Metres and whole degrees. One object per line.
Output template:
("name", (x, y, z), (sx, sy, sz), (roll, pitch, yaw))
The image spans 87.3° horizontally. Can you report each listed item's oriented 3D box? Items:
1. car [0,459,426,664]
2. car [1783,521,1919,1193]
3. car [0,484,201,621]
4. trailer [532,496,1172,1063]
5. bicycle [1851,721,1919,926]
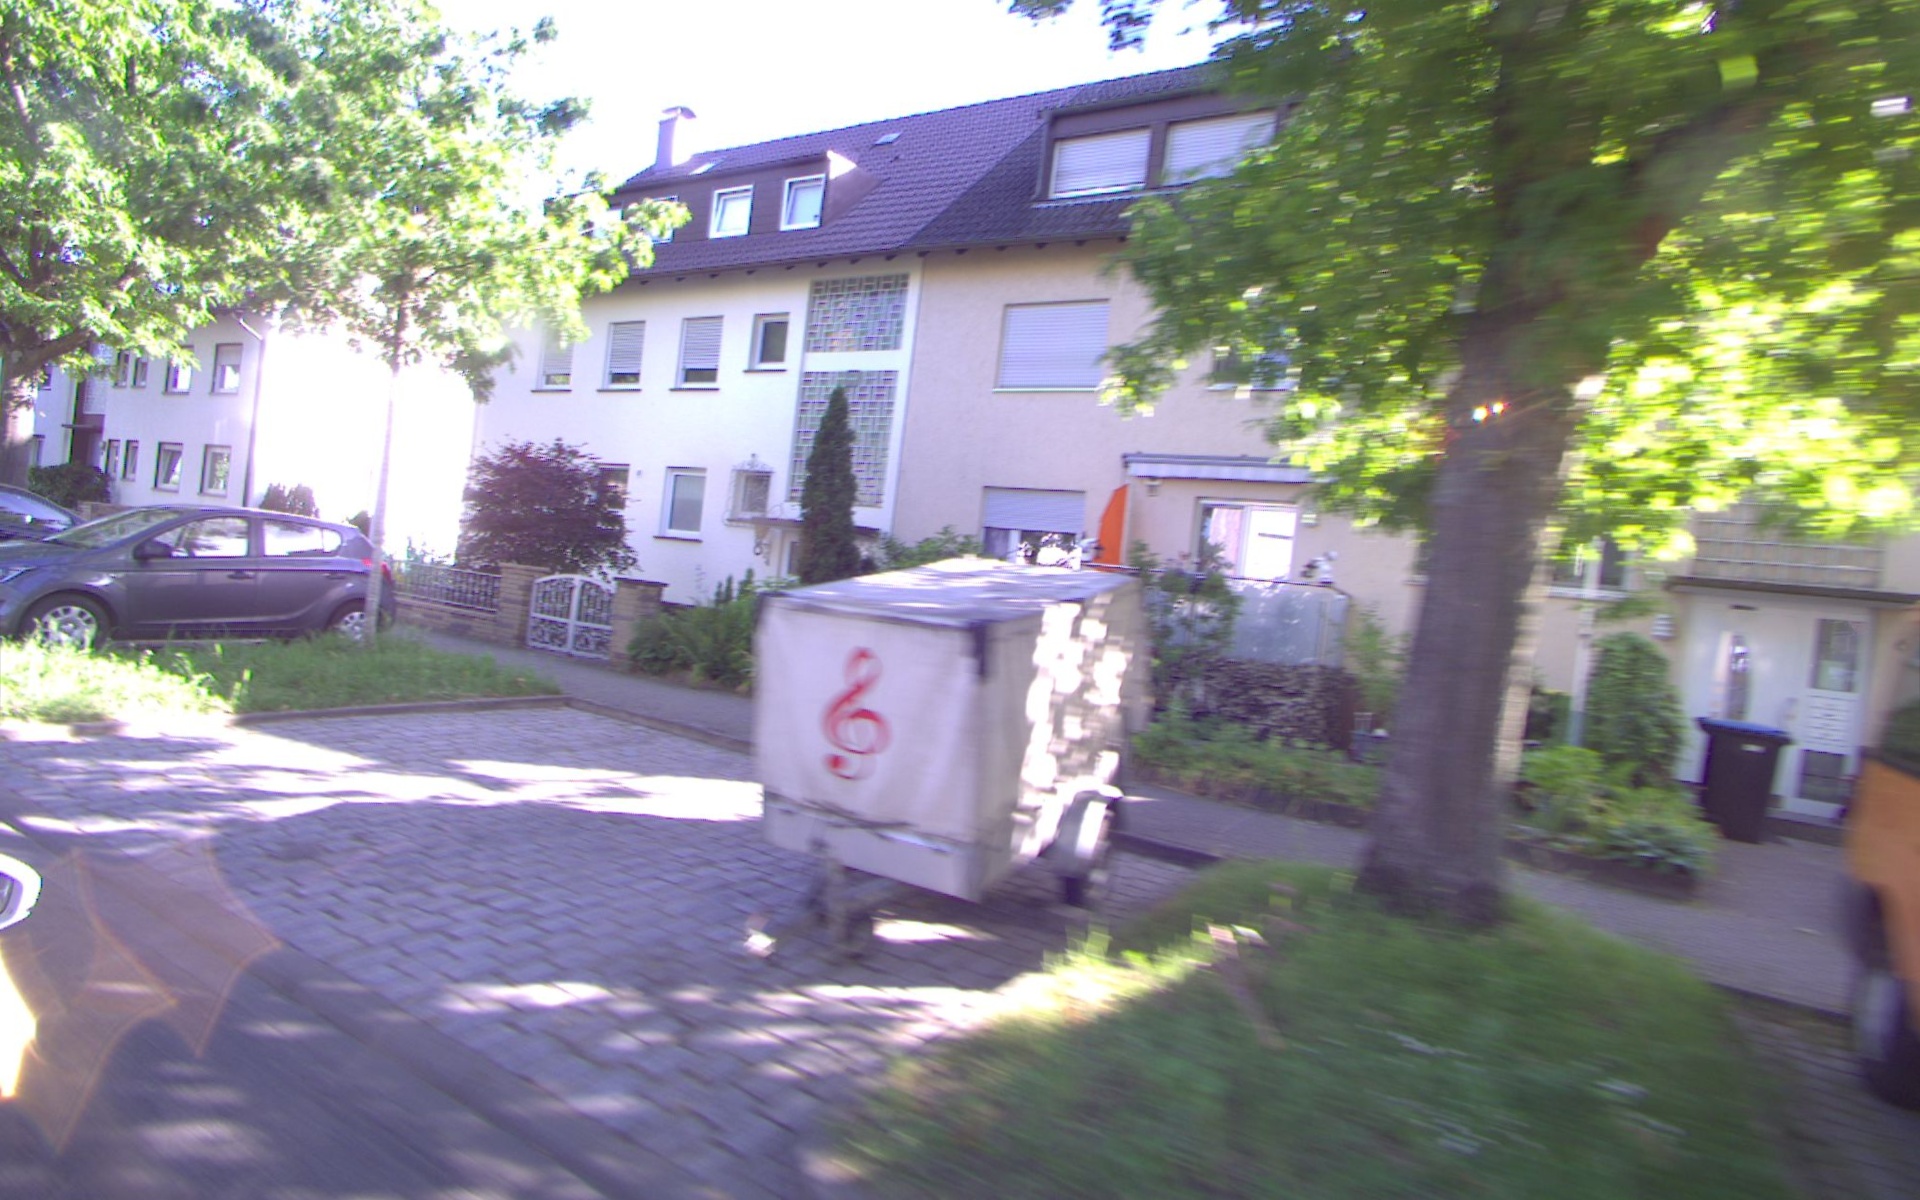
("car", (-7.892, -0.302, 10.177), (1.727, 1.643, 3.994), (6, -1, 29))
("car", (3.782, 0.832, 2.316), (2.051, 2.111, 4.818), (7, 3, 31))
("car", (-12.151, -0.687, 12.538), (1.633, 1.534, 3.887), (6, -1, 31))
("trailer", (-0.209, 0.569, 4.775), (1.586, 1.686, 2.950), (6, 1, 26))
("bicycle", (6.849, 1.566, 6.935), (0.460, 1.253, 2.860), (7, 1, 32))
